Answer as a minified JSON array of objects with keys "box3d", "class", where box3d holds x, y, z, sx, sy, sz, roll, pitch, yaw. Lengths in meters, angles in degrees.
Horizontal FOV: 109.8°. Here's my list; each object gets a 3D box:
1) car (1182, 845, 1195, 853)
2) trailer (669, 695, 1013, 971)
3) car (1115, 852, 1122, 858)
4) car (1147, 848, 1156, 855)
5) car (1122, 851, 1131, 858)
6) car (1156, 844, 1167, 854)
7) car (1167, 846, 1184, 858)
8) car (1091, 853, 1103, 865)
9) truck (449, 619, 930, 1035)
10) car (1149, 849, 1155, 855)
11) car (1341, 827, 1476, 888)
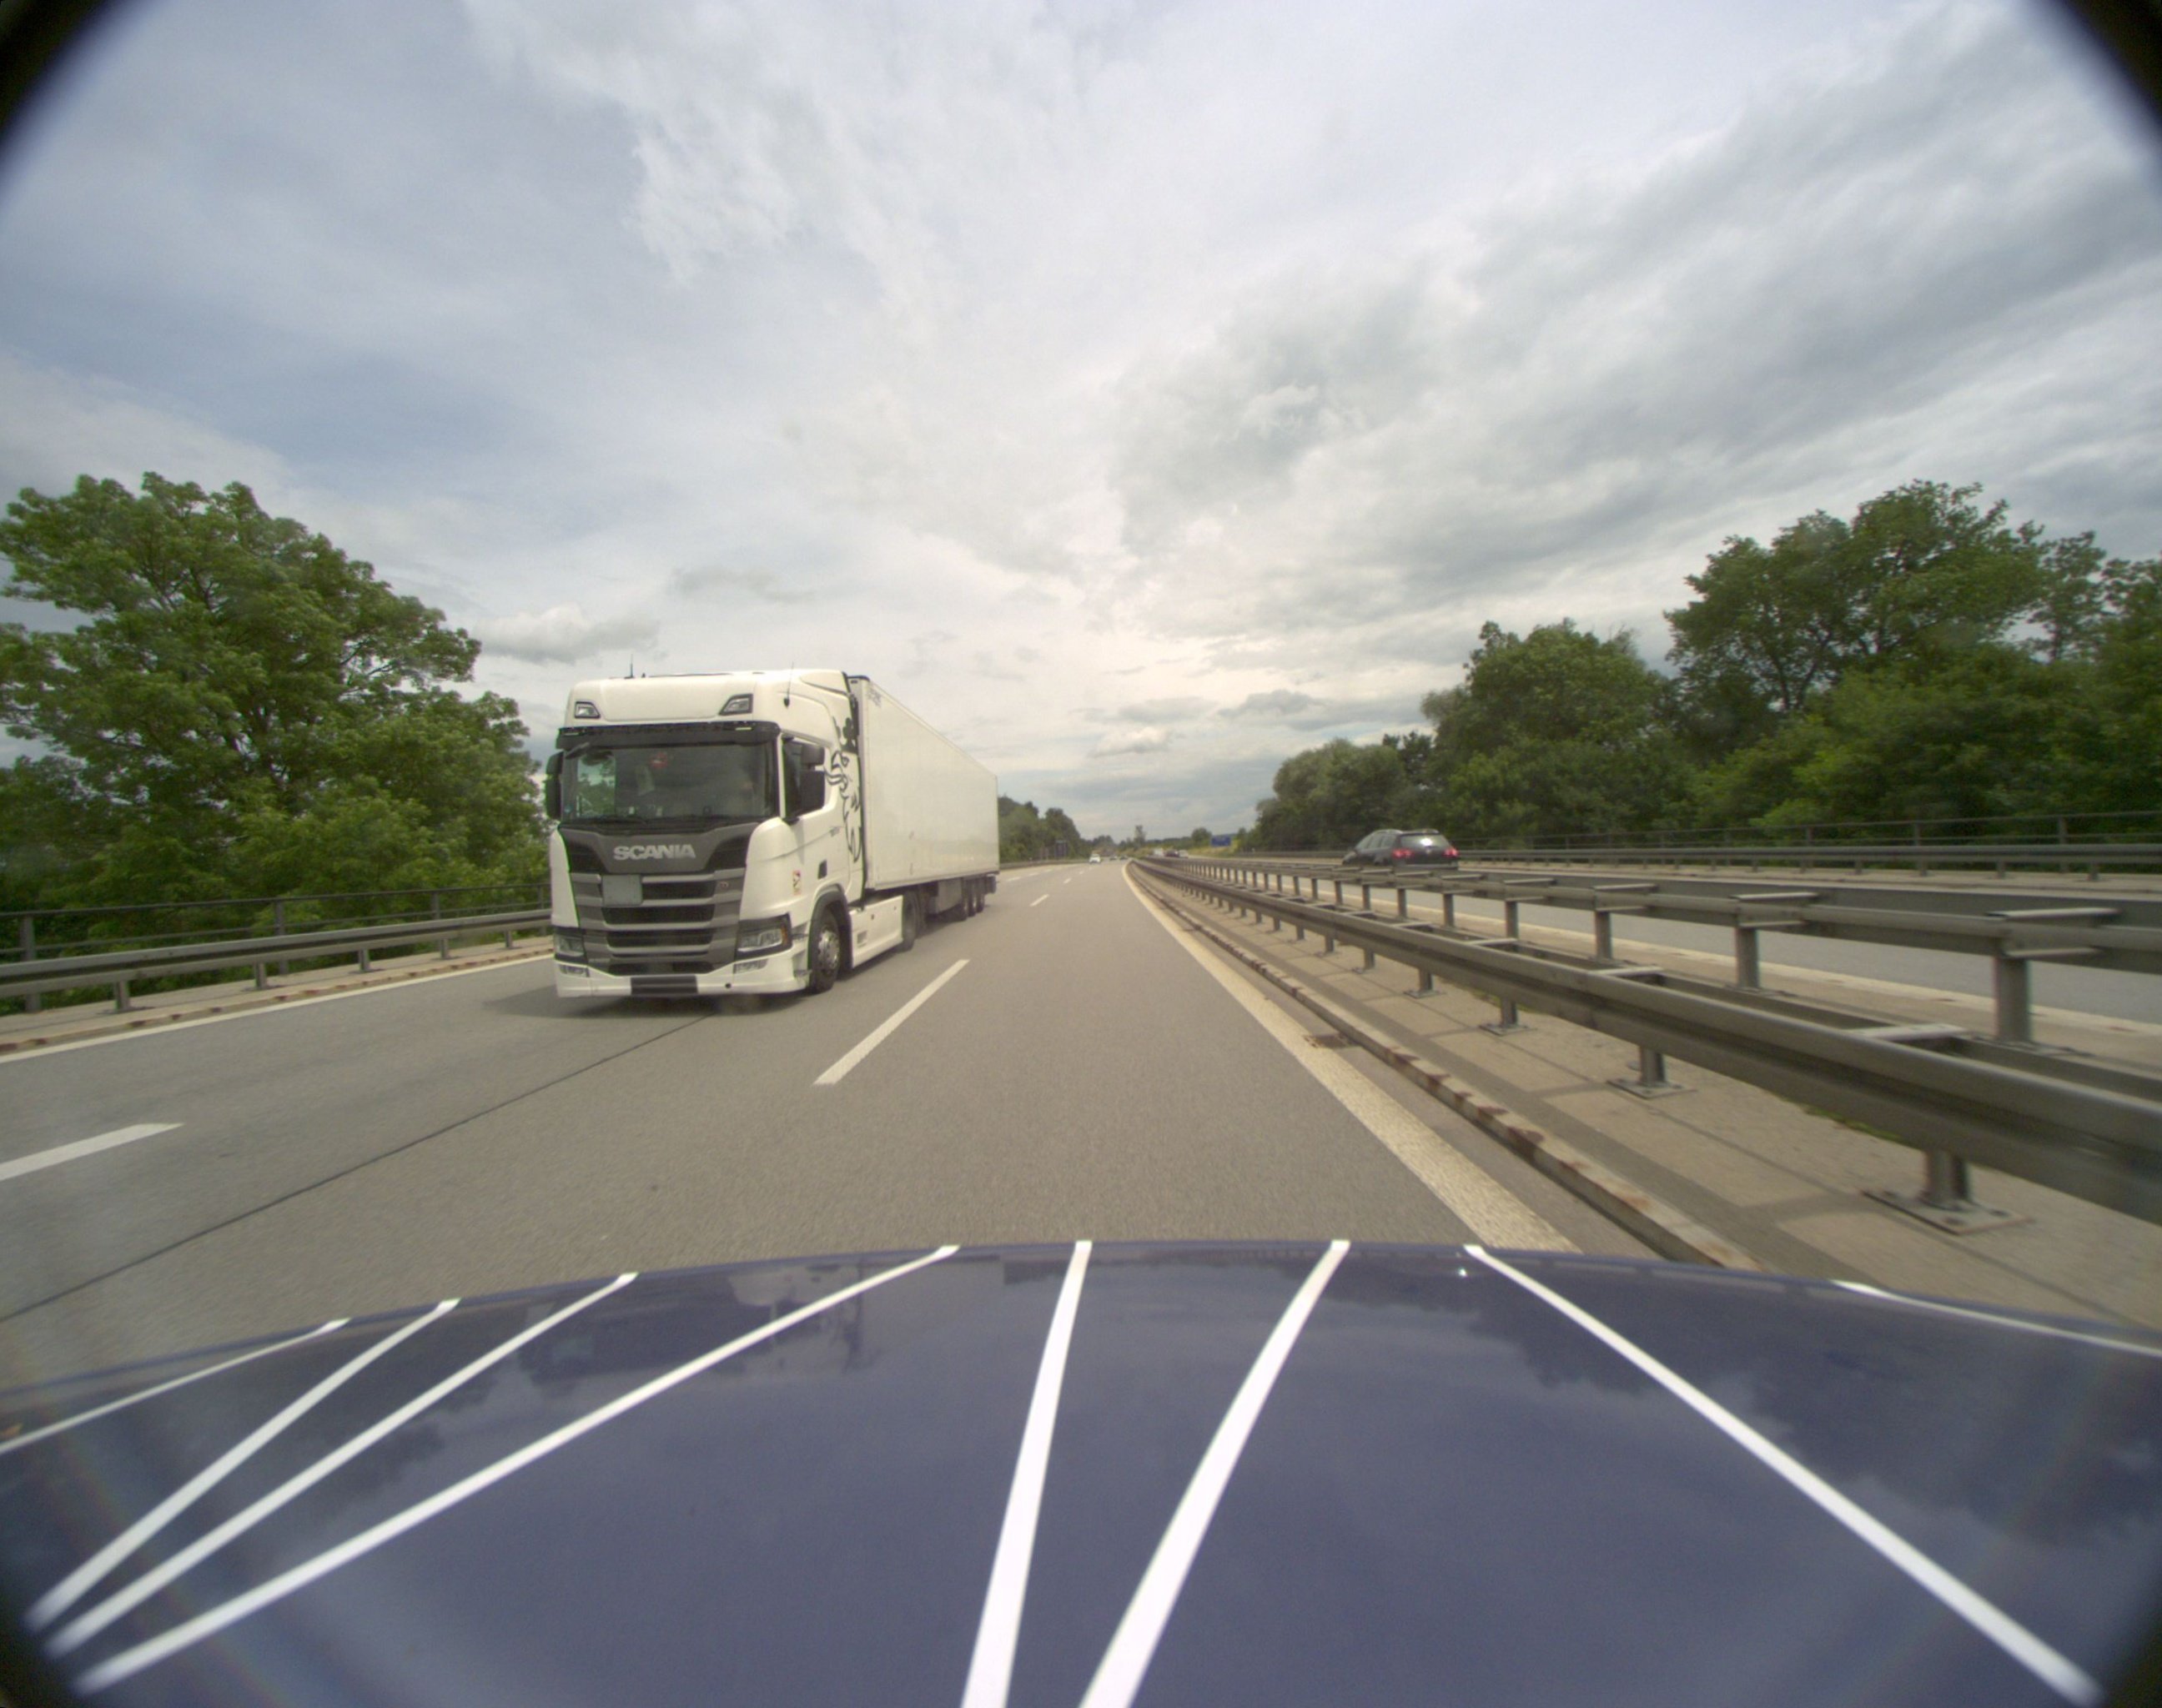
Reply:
[{"box3d":[19.591,-0.899,138.608,1.850,1.430,3.936,-3,0,3],"class":"car"},{"box3d":[-4.075,-0.322,17.828,3.069,3.868,13.791,-2,0,2],"class":"trailer"},{"box3d":[10.101,0.215,204.486,1.649,1.686,4.737,-2,0,1],"class":"car"},{"box3d":[17.522,-0.574,189.155,1.850,1.603,4.947,-3,1,3],"class":"car"},{"box3d":[10.824,0.183,181.089,1.775,1.474,4.696,-3,0,0],"class":"car"},{"box3d":[16.342,-1.049,154.623,1.776,1.899,4.715,-4,0,1],"class":"car"},{"box3d":[11.775,-0.272,94.804,1.690,1.368,4.358,-3,0,1],"class":"car"},{"box3d":[2.733,0.811,129.315,1.775,1.813,4.165,-3,0,2],"class":"car"},{"box3d":[-4.351,-0.251,10.268,3.069,3.869,6.000,-2,0,2],"class":"truck"},{"box3d":[21.336,-0.520,228.027,1.729,1.640,4.225,-3,-1,5],"class":"car"},{"box3d":[8.370,0.086,19.864,1.655,1.359,4.147,-2,0,-1],"class":"car"}]
